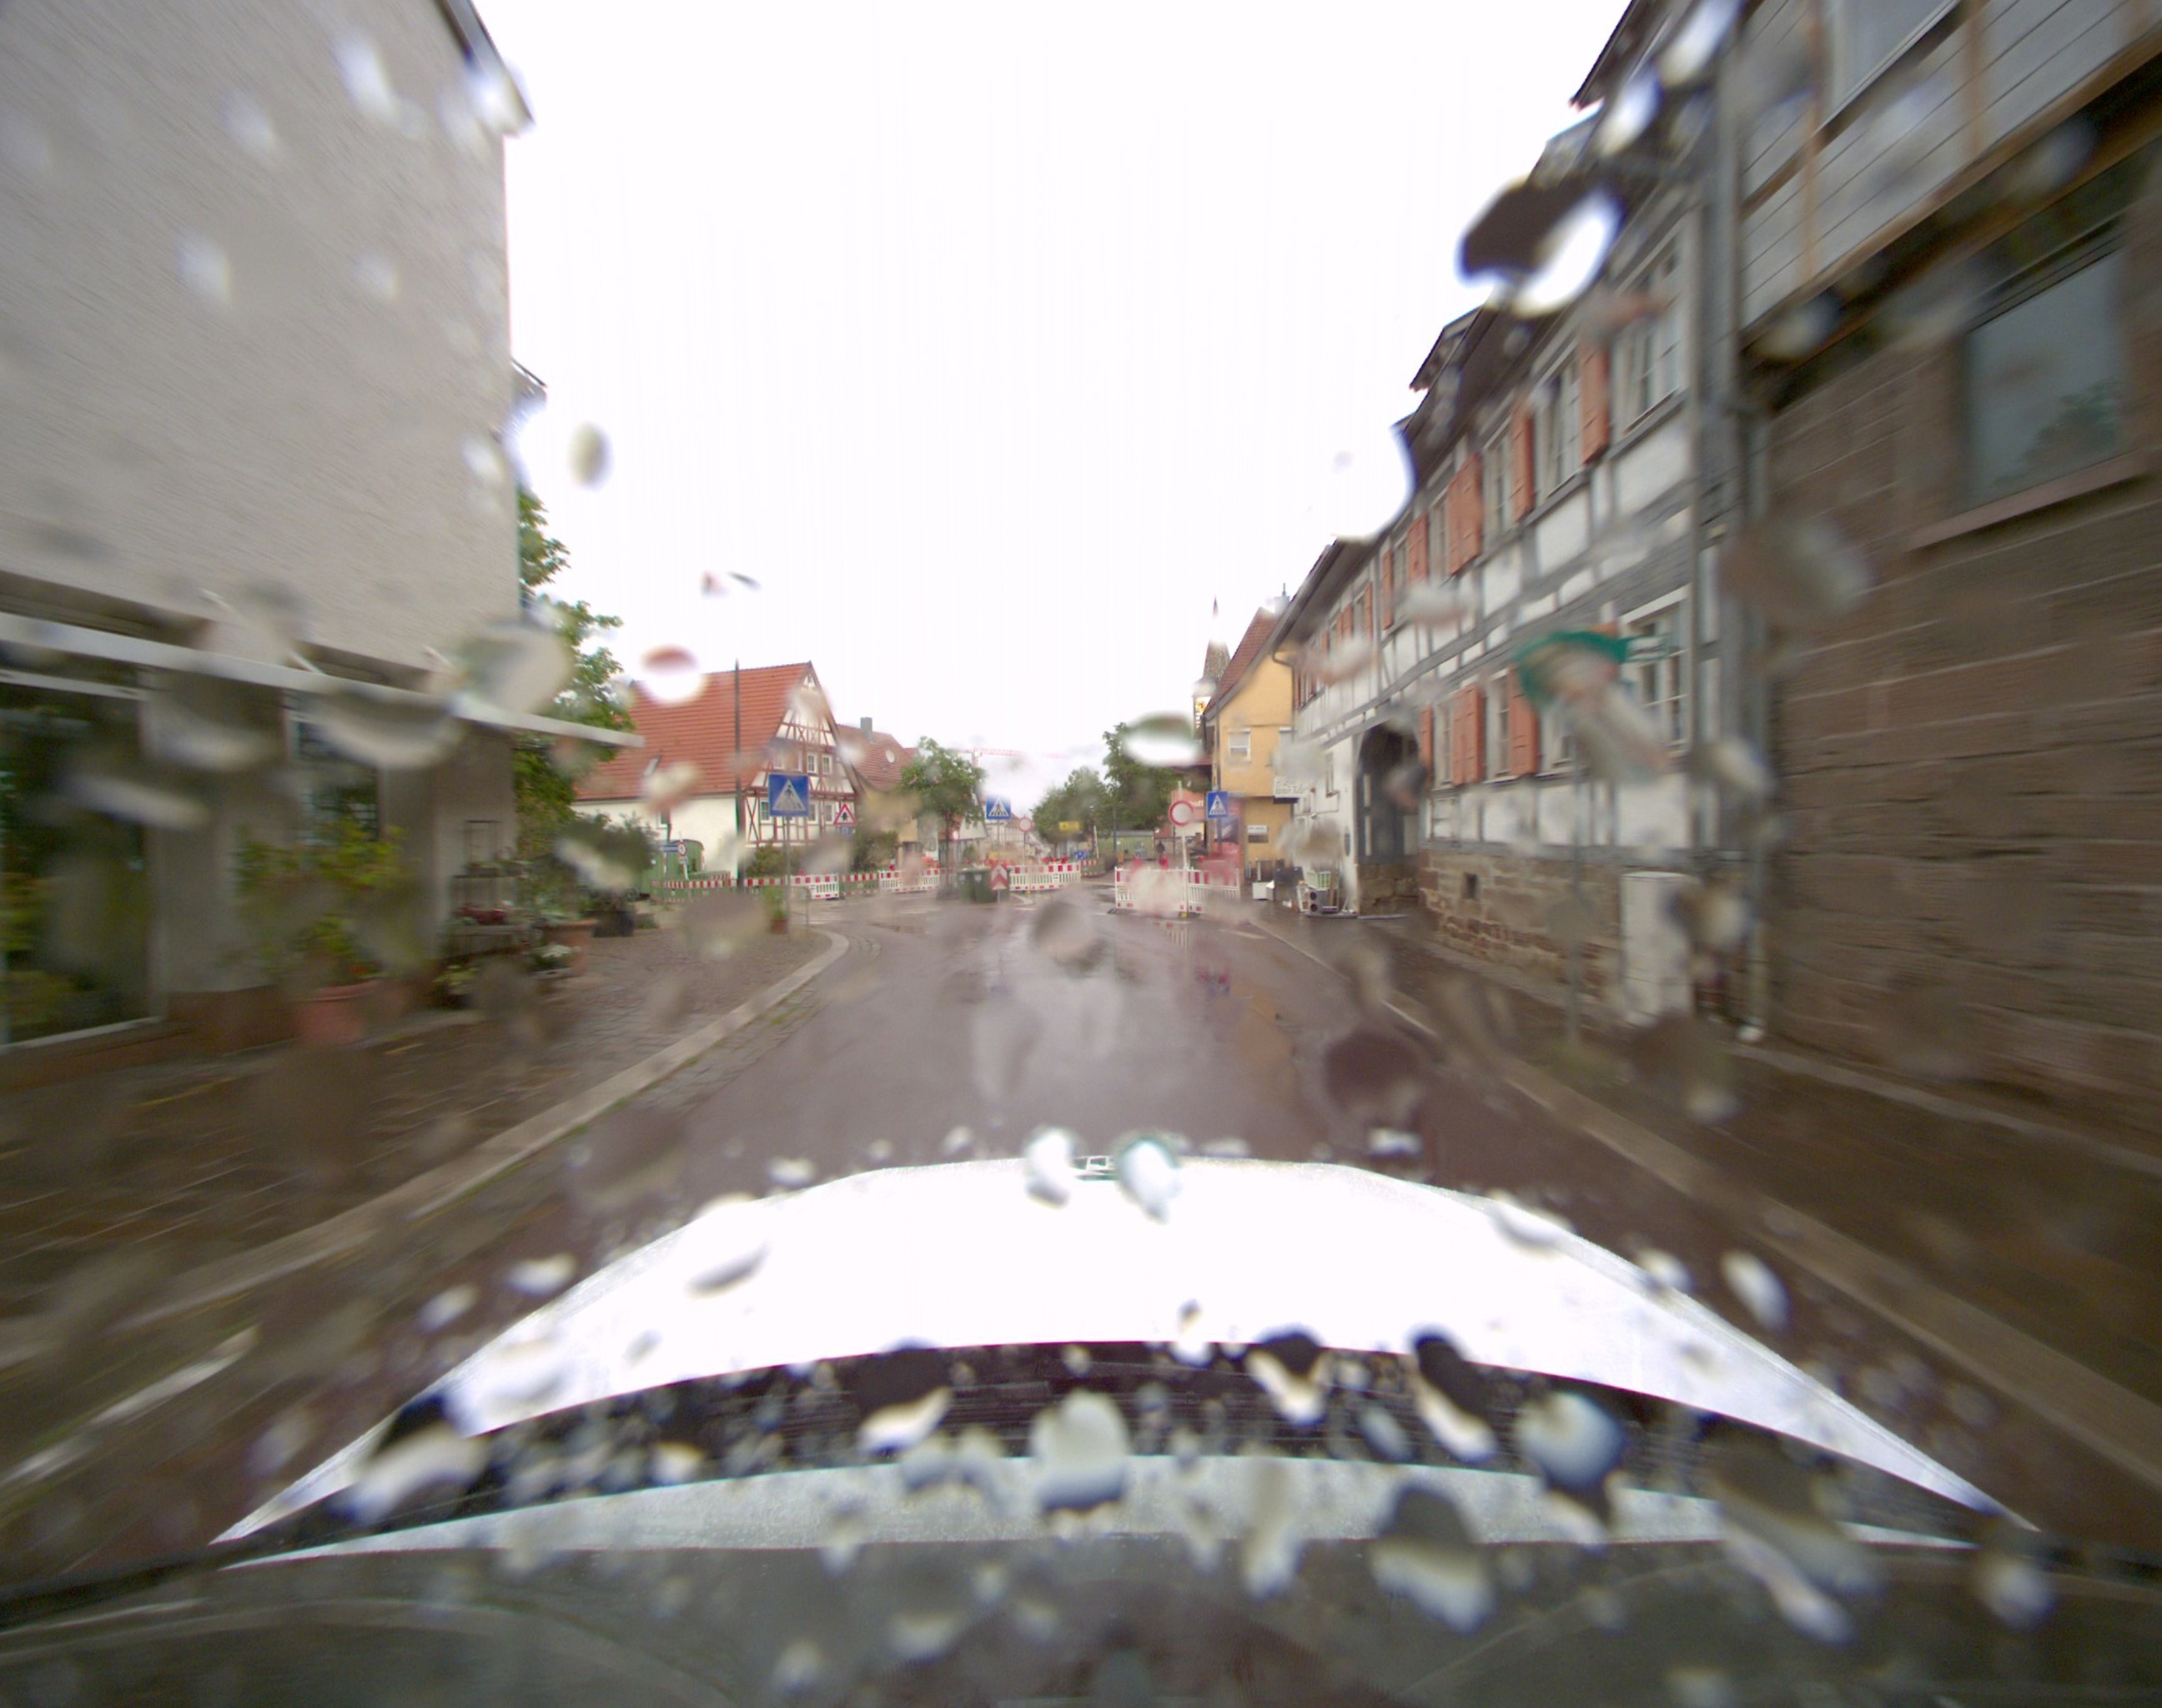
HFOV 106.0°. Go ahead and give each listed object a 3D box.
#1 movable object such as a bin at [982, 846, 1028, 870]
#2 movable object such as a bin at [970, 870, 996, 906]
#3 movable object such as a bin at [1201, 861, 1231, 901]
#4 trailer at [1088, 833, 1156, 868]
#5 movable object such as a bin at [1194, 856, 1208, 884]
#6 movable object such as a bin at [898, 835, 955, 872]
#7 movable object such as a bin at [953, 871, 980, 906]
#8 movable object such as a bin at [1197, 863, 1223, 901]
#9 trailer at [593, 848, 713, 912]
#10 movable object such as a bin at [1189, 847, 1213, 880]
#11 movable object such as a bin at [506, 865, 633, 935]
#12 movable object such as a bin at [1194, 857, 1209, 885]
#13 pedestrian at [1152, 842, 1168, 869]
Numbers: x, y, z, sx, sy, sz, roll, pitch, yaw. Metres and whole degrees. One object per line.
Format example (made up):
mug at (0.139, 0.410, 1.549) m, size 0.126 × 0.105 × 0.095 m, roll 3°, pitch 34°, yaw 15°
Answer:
movable object such as a bin at (-6.492, 0.329, 69.903) m, size 3.387 × 2.014 × 3.482 m, roll 0°, pitch -1°, yaw 4°
movable object such as a bin at (-2.937, 1.010, 24.408) m, size 0.538 × 1.033 × 0.538 m, roll -4°, pitch -3°, yaw 36°
movable object such as a bin at (3.770, 0.750, 22.772) m, size 0.677 × 1.066 × 0.539 m, roll -2°, pitch 0°, yaw -4°
trailer at (3.569, -0.282, 71.264) m, size 5.767 × 2.947 × 1.998 m, roll 0°, pitch -1°, yaw -3°
movable object such as a bin at (5.060, 0.683, 34.393) m, size 0.513 × 1.128 × 0.581 m, roll -4°, pitch 1°, yaw 6°
movable object such as a bin at (-9.299, -0.017, 49.402) m, size 1.892 × 2.014 × 4.013 m, roll -3°, pitch -1°, yaw 11°
movable object such as a bin at (-3.469, 1.043, 24.773) m, size 0.535 × 1.037 × 0.576 m, roll -4°, pitch -3°, yaw 36°
movable object such as a bin at (3.720, 0.795, 23.466) m, size 0.611 × 1.066 × 0.542 m, roll -3°, pitch -1°, yaw 19°
trailer at (-20.050, 1.180, 38.195) m, size 4.579 × 2.837 × 2.504 m, roll -1°, pitch -1°, yaw 19°
movable object such as a bin at (5.976, 0.462, 40.507) m, size 1.058 × 1.512 × 1.246 m, roll -4°, pitch 0°, yaw 10°
movable object such as a bin at (-21.670, 1.902, 34.742) m, size 1.891 × 2.554 × 4.309 m, roll -4°, pitch 0°, yaw 15°
movable object such as a bin at (4.987, 0.695, 33.788) m, size 0.515 × 1.132 × 0.581 m, roll -4°, pitch 1°, yaw 6°
pedestrian at (5.381, 0.104, 55.489) m, size 0.988 × 1.759 × 0.850 m, roll 0°, pitch -1°, yaw -3°
